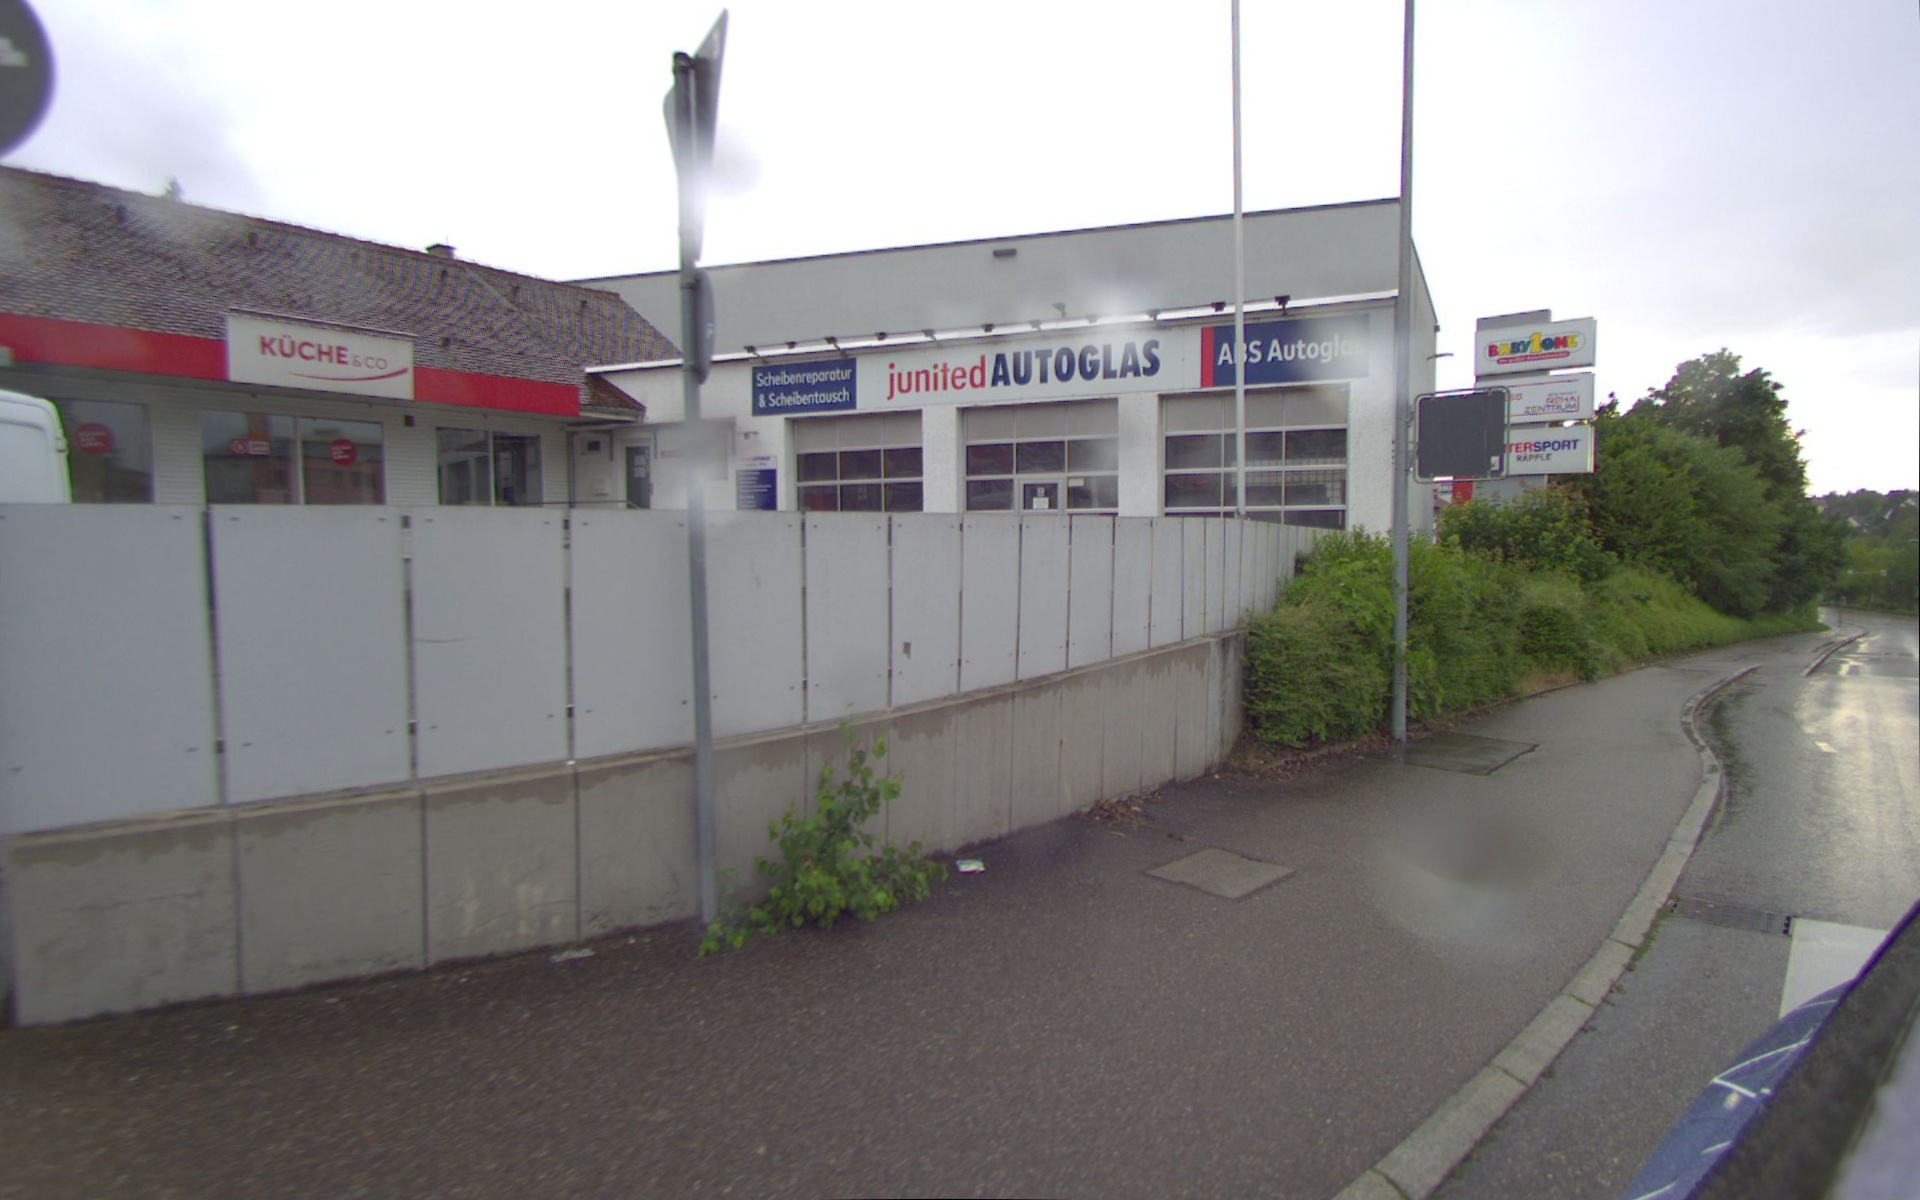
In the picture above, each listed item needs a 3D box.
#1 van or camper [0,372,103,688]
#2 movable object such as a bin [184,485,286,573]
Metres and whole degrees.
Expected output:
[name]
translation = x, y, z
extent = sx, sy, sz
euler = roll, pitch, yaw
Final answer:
[van or camper]
translation = -10.237, -0.655, 9.379
extent = 5.228, 2.570, 2.105
euler = 3, 4, 34
[movable object such as a bin]
translation = -12.291, -1.206, 17.154
extent = 1.162, 1.359, 1.152
euler = 8, 7, 38
